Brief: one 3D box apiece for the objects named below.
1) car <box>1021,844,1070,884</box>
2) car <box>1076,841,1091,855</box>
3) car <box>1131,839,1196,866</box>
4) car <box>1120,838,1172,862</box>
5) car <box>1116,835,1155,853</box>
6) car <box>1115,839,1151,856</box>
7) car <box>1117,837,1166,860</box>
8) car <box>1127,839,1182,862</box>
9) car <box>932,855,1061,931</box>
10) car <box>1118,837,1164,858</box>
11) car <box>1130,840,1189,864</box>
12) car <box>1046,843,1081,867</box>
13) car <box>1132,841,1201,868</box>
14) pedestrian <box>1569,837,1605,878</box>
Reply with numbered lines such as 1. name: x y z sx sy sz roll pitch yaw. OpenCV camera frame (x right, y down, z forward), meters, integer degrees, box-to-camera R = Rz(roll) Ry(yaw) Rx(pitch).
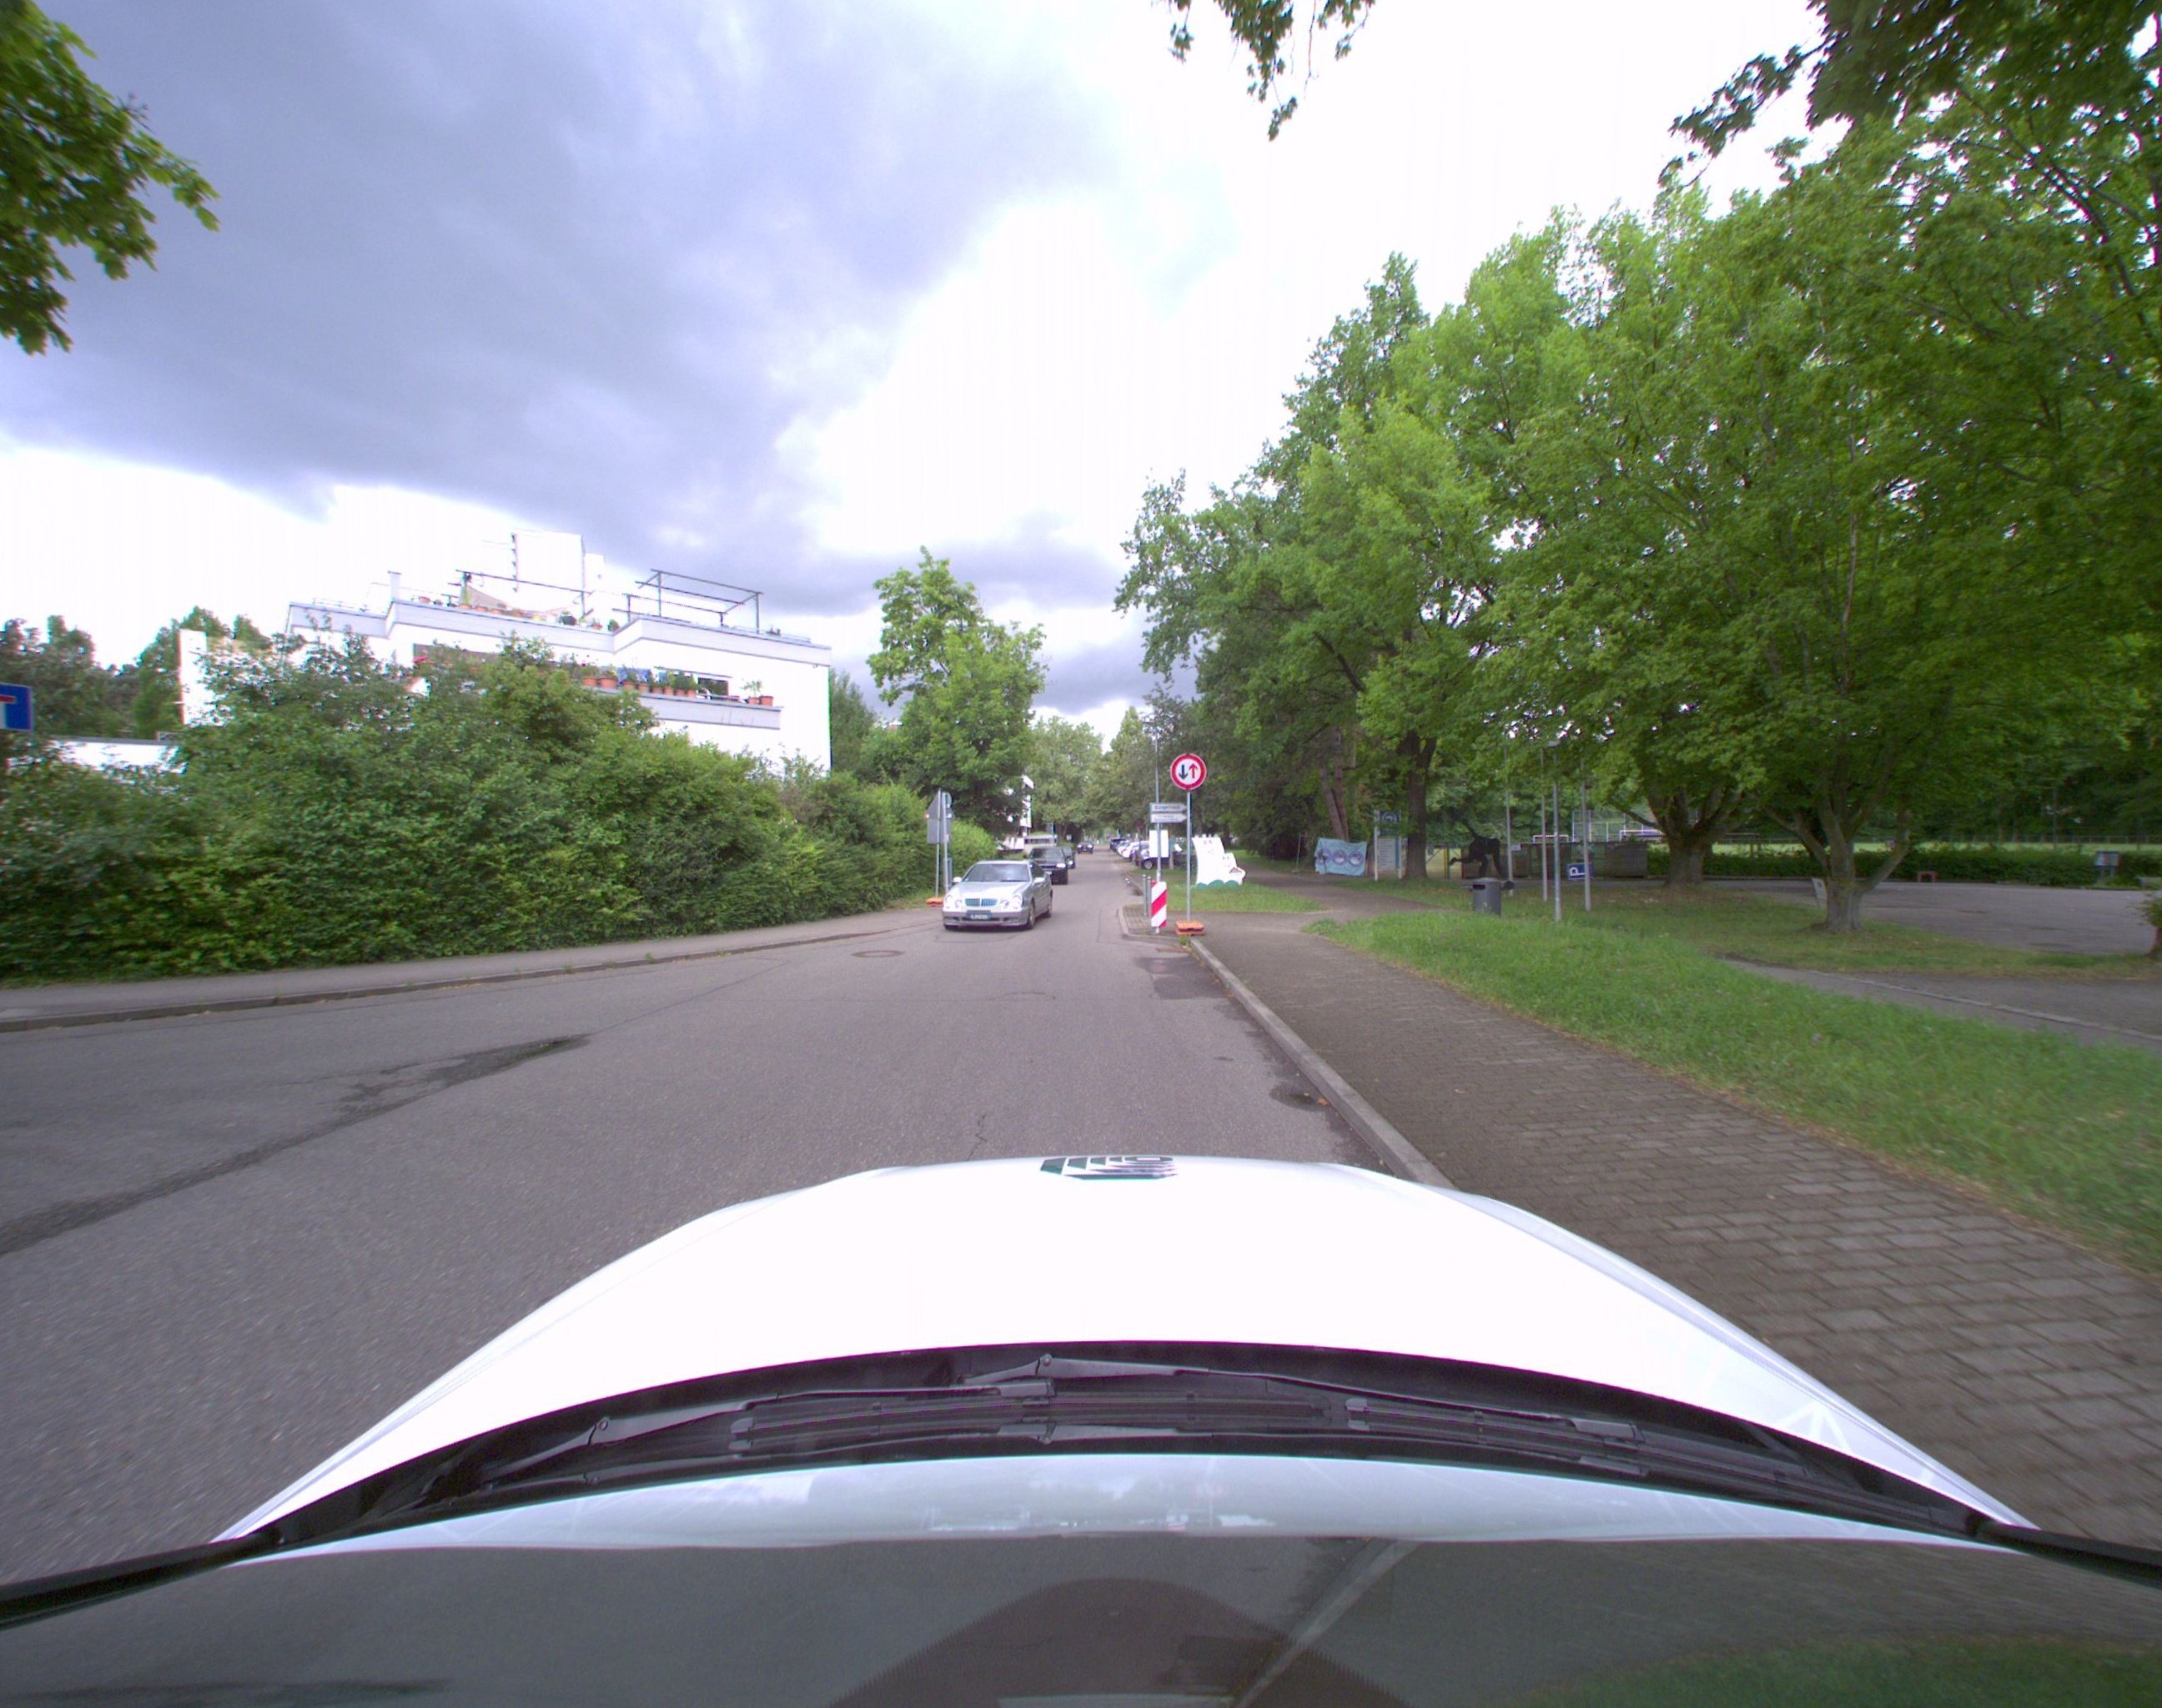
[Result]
1. car: -1.482 0.393 35.365 1.796 1.591 4.298 -1 1 2
2. car: 0.395 -0.837 110.403 1.962 1.747 4.338 -1 1 0
3. car: 5.351 -0.091 53.289 4.049 1.568 1.822 -3 -1 0
4. car: 5.465 -0.320 68.754 4.053 1.687 1.821 -5 1 -3
5. car: 6.146 -1.115 92.241 4.053 1.687 1.821 -5 1 -3
6. car: 6.295 -0.774 98.062 4.053 1.687 1.821 -5 1 -3
7. car: 5.350 -0.517 72.610 4.053 1.687 1.821 -5 1 -3
8. car: 5.711 -0.271 63.528 4.053 1.488 1.821 -5 1 -3
9. car: -1.591 0.724 16.961 1.772 1.306 4.304 -1 1 6
10. car: 5.758 -0.622 78.427 4.053 1.687 1.821 -5 1 -3
11. car: 5.587 -0.146 58.546 4.049 1.568 1.822 -3 1 0
12. car: -1.142 0.060 56.387 1.793 1.591 4.305 -1 1 7
13. car: 5.306 0.046 50.984 4.049 1.434 2.000 -3 -1 0
14. pedestrian: 21.438 0.141 34.504 1.137 1.674 0.798 -3 -1 26
